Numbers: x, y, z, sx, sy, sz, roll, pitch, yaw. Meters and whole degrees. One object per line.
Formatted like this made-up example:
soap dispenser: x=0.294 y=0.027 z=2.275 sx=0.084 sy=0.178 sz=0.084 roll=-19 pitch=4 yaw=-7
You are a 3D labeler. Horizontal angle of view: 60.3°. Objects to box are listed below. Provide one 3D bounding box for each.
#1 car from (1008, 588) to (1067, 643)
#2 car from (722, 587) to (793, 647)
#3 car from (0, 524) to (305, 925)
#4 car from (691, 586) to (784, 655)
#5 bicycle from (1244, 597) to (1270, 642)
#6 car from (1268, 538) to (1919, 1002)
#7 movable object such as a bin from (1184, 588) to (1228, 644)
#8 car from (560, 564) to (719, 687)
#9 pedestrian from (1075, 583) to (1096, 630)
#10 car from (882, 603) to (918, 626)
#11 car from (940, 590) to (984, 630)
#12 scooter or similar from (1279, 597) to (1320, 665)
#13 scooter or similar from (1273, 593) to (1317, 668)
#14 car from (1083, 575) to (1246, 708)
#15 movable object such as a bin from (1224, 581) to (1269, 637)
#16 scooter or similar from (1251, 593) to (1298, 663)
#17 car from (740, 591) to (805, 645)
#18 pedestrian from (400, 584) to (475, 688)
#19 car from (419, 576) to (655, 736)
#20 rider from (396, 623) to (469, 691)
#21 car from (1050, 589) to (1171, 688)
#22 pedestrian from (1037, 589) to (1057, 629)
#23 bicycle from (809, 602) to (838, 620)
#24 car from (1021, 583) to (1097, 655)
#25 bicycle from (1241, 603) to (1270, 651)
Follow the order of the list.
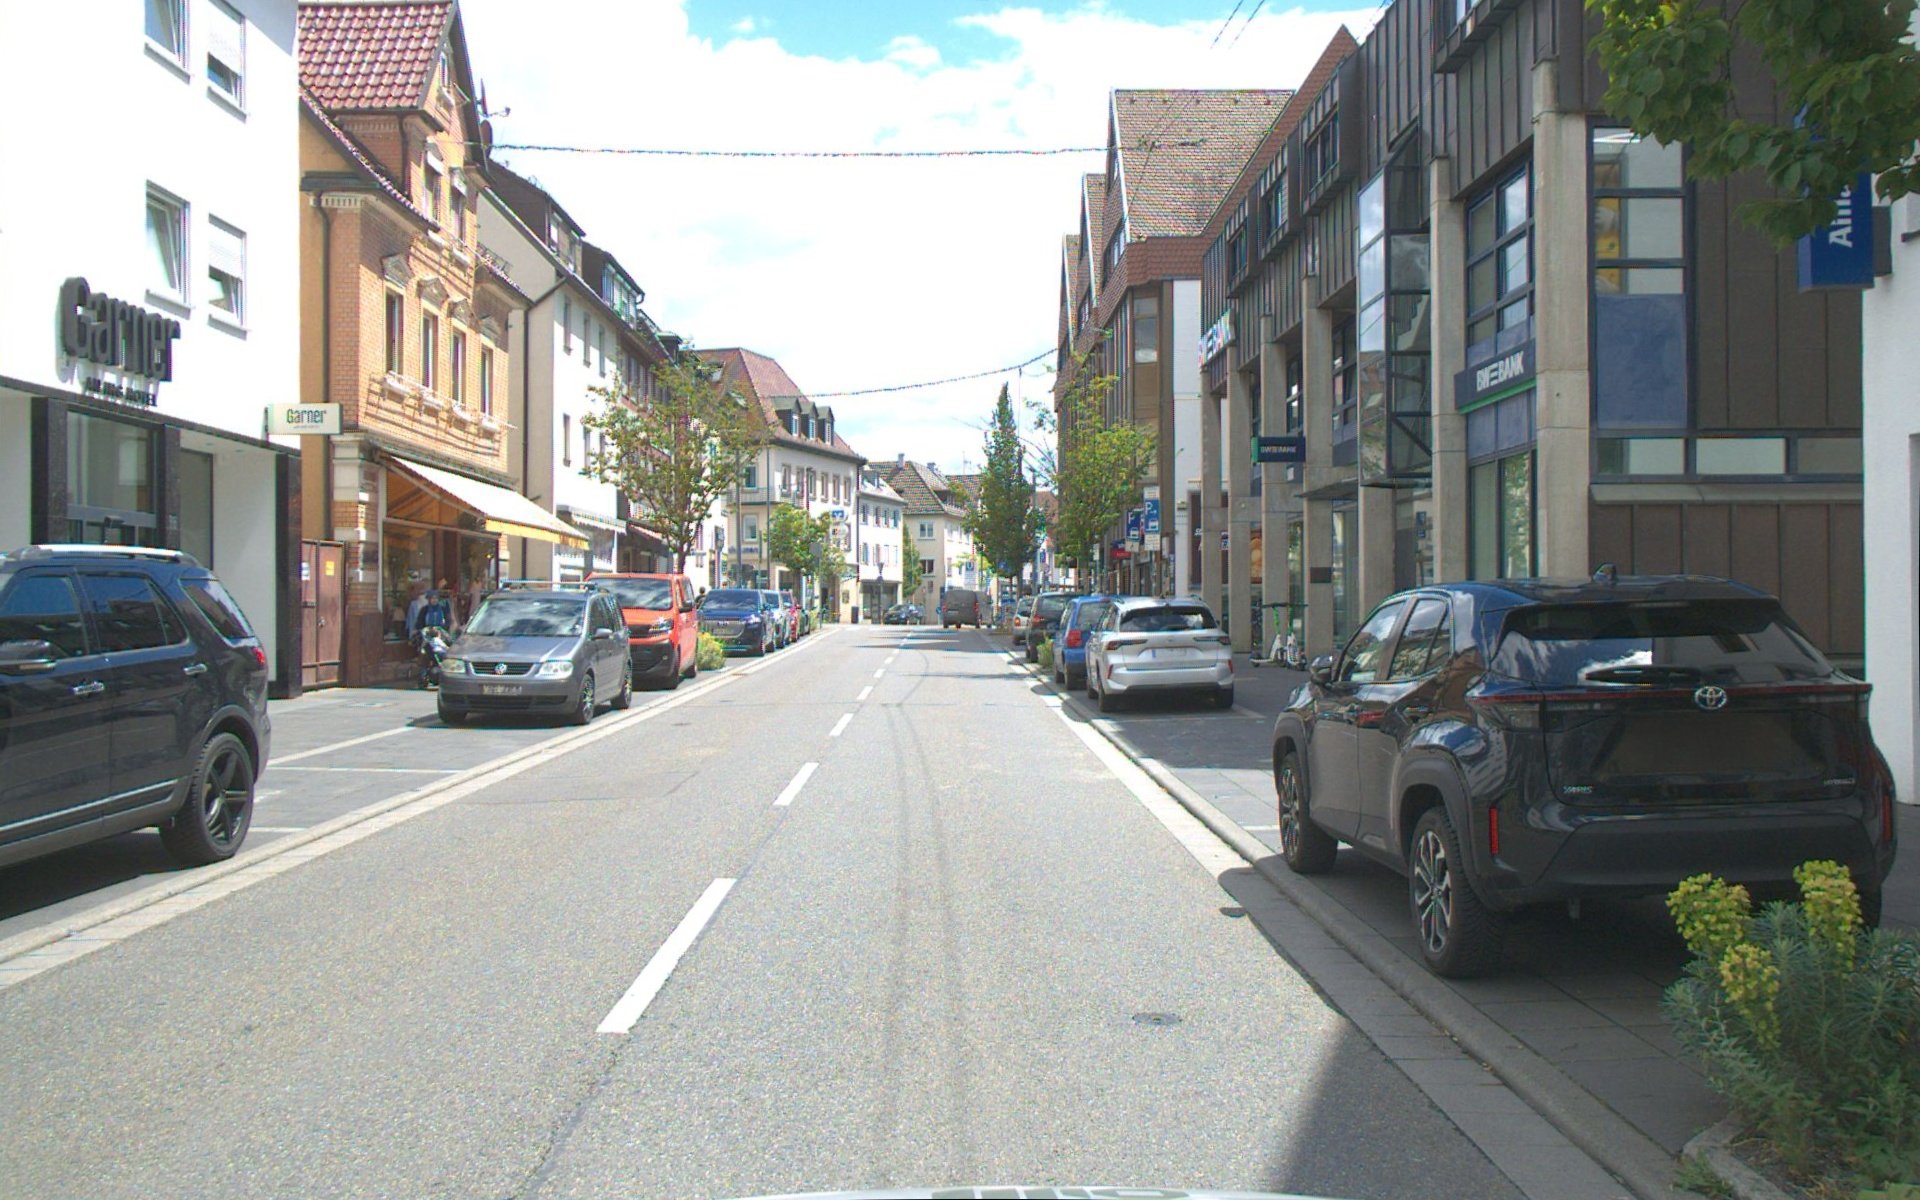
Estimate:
car: x=2.337 y=0.452 z=50.749 sx=1.576 sy=1.521 sz=3.795 roll=-3 pitch=0 yaw=1
car: x=-5.743 y=0.467 z=47.385 sx=1.764 sy=1.632 sz=4.348 roll=0 pitch=0 yaw=-4
car: x=-5.130 y=0.544 z=8.144 sx=1.778 sy=1.786 sz=4.670 roll=1 pitch=-1 yaw=2
car: x=-5.517 y=0.481 z=41.519 sx=1.762 sy=1.626 sz=4.388 roll=0 pitch=0 yaw=-1
bicycle: x=7.719 y=0.503 z=43.019 sx=0.416 sy=1.139 sz=1.502 roll=1 pitch=-1 yaw=1
car: x=2.725 y=0.622 z=7.903 sx=1.686 sy=1.604 sz=4.108 roll=1 pitch=-1 yaw=-1
movable object such as a bin: x=7.067 y=0.455 z=47.490 sx=1.118 sy=1.554 sz=1.032 roll=1 pitch=-1 yaw=2
car: x=-5.442 y=0.431 z=28.727 sx=1.779 sy=1.922 sz=4.840 roll=1 pitch=-1 yaw=0
pedestrian: x=5.014 y=0.262 z=66.000 sx=0.722 sy=1.846 sz=0.711 roll=1 pitch=-1 yaw=-1
car: x=-3.970 y=0.978 z=109.953 sx=1.590 sy=1.512 sz=3.808 roll=1 pitch=-1 yaw=11
car: x=0.062 y=0.499 z=82.074 sx=1.999 sy=1.881 sz=4.998 roll=1 pitch=-1 yaw=-1
scooter or similar: x=6.545 y=0.585 z=31.920 sx=0.413 sy=1.267 sz=1.561 roll=1 pitch=-1 yaw=-1
scooter or similar: x=5.862 y=0.530 z=28.981 sx=0.413 sy=1.267 sz=1.561 roll=1 pitch=-1 yaw=-1
car: x=2.686 y=0.517 z=22.575 sx=1.686 sy=1.604 sz=4.428 roll=-1 pitch=0 yaw=0
movable object such as a bin: x=8.217 y=0.255 z=47.453 sx=1.118 sy=1.554 sz=1.032 roll=1 pitch=-1 yaw=2
scooter or similar: x=5.844 y=0.510 z=30.792 sx=0.398 sy=1.267 sz=1.321 roll=1 pitch=-1 yaw=-11
car: x=-5.918 y=0.538 z=52.660 sx=1.763 sy=1.632 sz=4.216 roll=0 pitch=0 yaw=-3
pedestrian: x=-8.289 y=0.565 z=26.254 sx=0.788 sy=1.602 sz=0.780 roll=1 pitch=-1 yaw=16
car: x=-5.250 y=0.665 z=21.158 sx=1.779 sy=1.786 sz=4.464 roll=1 pitch=-1 yaw=1
rider: x=-8.184 y=0.876 z=25.679 sx=0.786 sy=1.031 sz=0.707 roll=1 pitch=-1 yaw=16
car: x=2.491 y=0.624 z=28.157 sx=1.686 sy=1.520 sz=4.109 roll=1 pitch=-1 yaw=0
pedestrian: x=3.596 y=0.374 z=68.560 sx=0.768 sy=1.644 sz=0.800 roll=1 pitch=-1 yaw=-1
bicycle: x=-8.034 y=0.658 z=97.246 sx=1.597 sy=1.049 sz=0.568 roll=1 pitch=-1 yaw=15
car: x=2.285 y=0.418 z=38.806 sx=1.576 sy=1.559 sz=3.795 roll=-1 pitch=0 yaw=1
bicycle: x=7.238 y=0.651 z=40.541 sx=0.416 sy=1.139 sz=1.741 roll=1 pitch=-1 yaw=1
